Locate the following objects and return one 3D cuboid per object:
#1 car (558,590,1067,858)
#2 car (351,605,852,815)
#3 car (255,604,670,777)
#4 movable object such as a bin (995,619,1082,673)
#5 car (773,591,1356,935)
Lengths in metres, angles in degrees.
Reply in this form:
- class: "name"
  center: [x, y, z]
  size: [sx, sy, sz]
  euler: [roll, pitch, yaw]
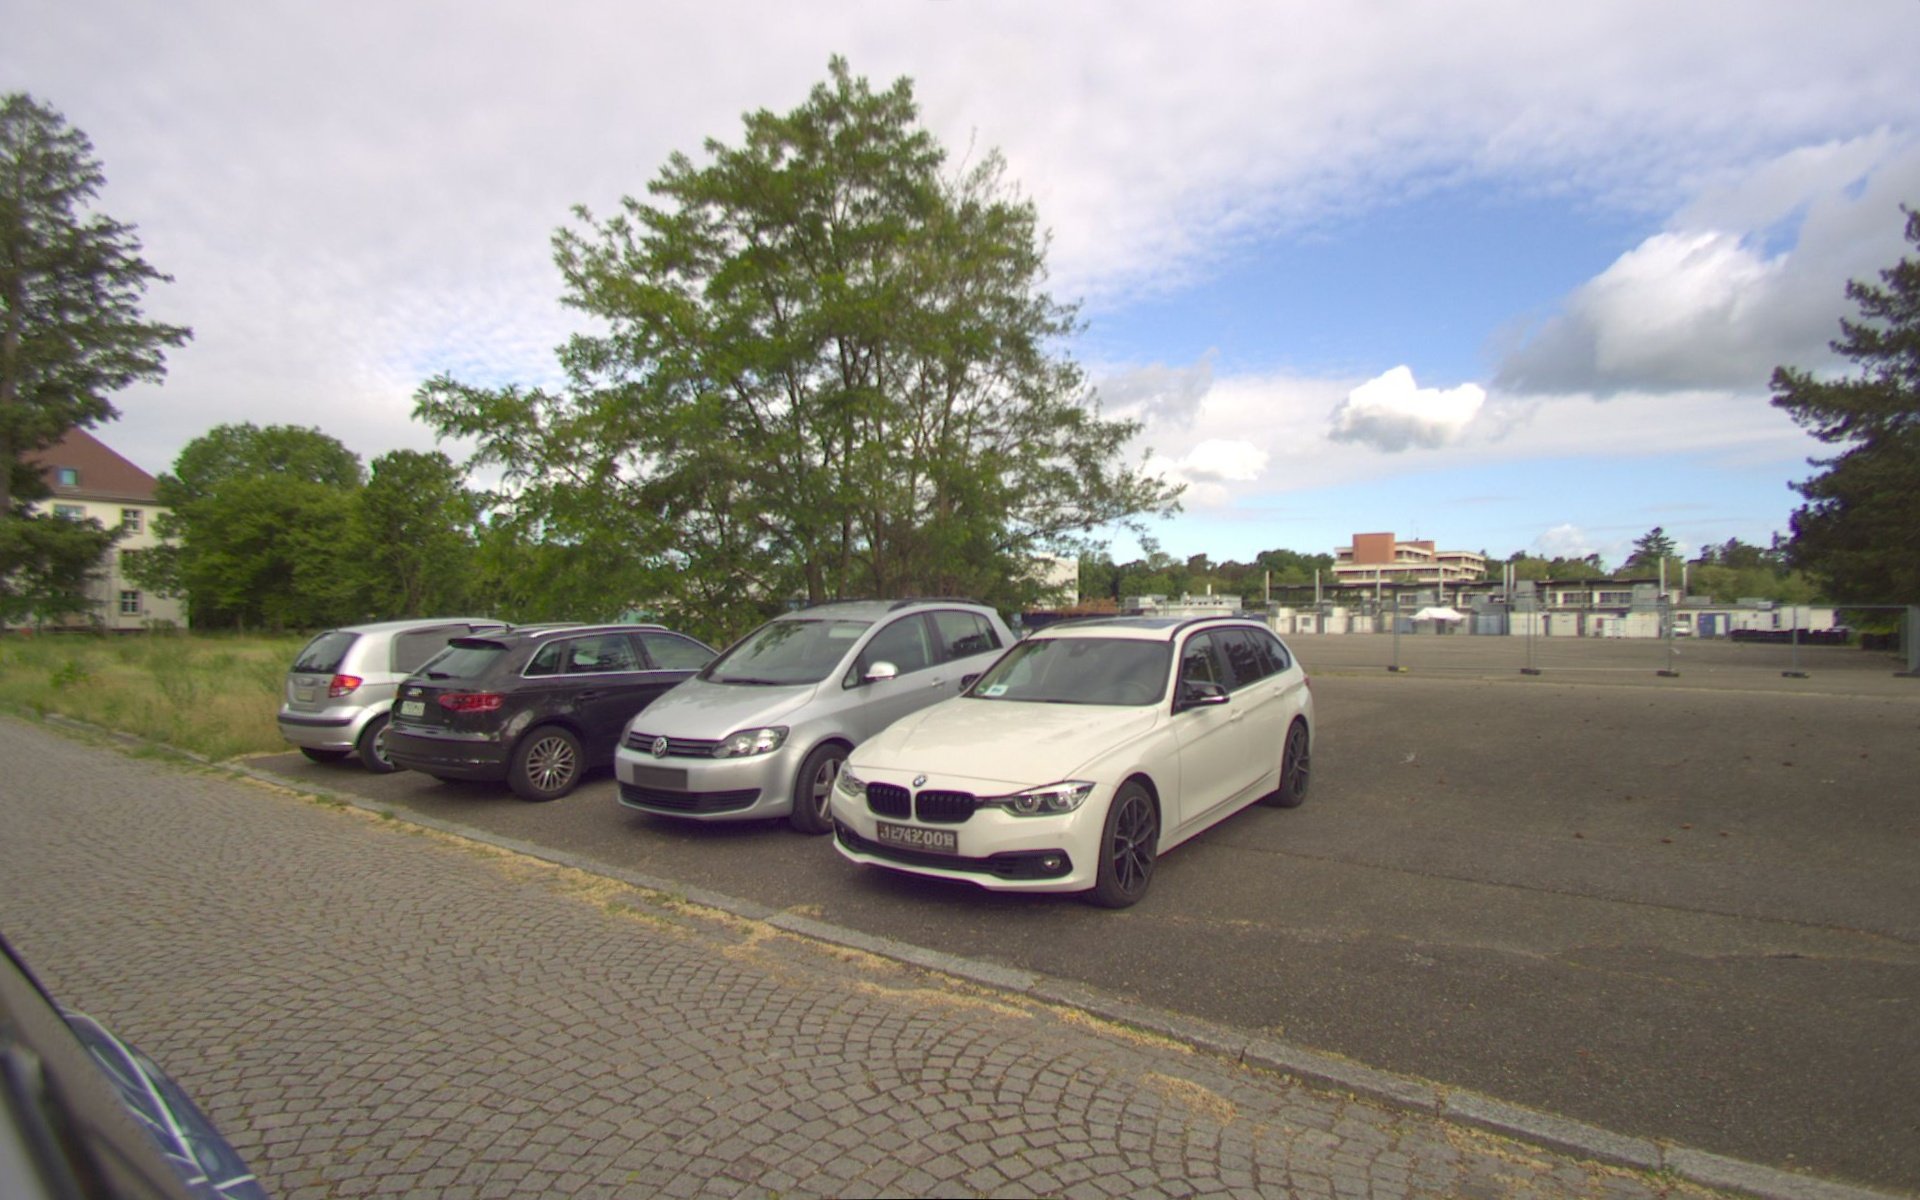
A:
- class: "car"
  center: [-0.915, 0.753, 8.533]
  size: [1.867, 1.610, 4.328]
  euler: [-1, 0, 33]
- class: "car"
  center: [-3.197, 0.850, 9.899]
  size: [1.719, 1.435, 4.395]
  euler: [-1, 1, 36]
- class: "car"
  center: [-5.390, 0.855, 11.434]
  size: [1.581, 1.481, 3.915]
  euler: [-1, 1, 35]
- class: "movable object such as a bin"
  center: [1.762, 1.002, 22.464]
  size: [0.857, 1.134, 2.240]
  euler: [-1, -2, 37]
- class: "car"
  center: [1.103, 0.737, 6.976]
  size: [1.863, 1.499, 4.696]
  euler: [-2, 0, 36]
